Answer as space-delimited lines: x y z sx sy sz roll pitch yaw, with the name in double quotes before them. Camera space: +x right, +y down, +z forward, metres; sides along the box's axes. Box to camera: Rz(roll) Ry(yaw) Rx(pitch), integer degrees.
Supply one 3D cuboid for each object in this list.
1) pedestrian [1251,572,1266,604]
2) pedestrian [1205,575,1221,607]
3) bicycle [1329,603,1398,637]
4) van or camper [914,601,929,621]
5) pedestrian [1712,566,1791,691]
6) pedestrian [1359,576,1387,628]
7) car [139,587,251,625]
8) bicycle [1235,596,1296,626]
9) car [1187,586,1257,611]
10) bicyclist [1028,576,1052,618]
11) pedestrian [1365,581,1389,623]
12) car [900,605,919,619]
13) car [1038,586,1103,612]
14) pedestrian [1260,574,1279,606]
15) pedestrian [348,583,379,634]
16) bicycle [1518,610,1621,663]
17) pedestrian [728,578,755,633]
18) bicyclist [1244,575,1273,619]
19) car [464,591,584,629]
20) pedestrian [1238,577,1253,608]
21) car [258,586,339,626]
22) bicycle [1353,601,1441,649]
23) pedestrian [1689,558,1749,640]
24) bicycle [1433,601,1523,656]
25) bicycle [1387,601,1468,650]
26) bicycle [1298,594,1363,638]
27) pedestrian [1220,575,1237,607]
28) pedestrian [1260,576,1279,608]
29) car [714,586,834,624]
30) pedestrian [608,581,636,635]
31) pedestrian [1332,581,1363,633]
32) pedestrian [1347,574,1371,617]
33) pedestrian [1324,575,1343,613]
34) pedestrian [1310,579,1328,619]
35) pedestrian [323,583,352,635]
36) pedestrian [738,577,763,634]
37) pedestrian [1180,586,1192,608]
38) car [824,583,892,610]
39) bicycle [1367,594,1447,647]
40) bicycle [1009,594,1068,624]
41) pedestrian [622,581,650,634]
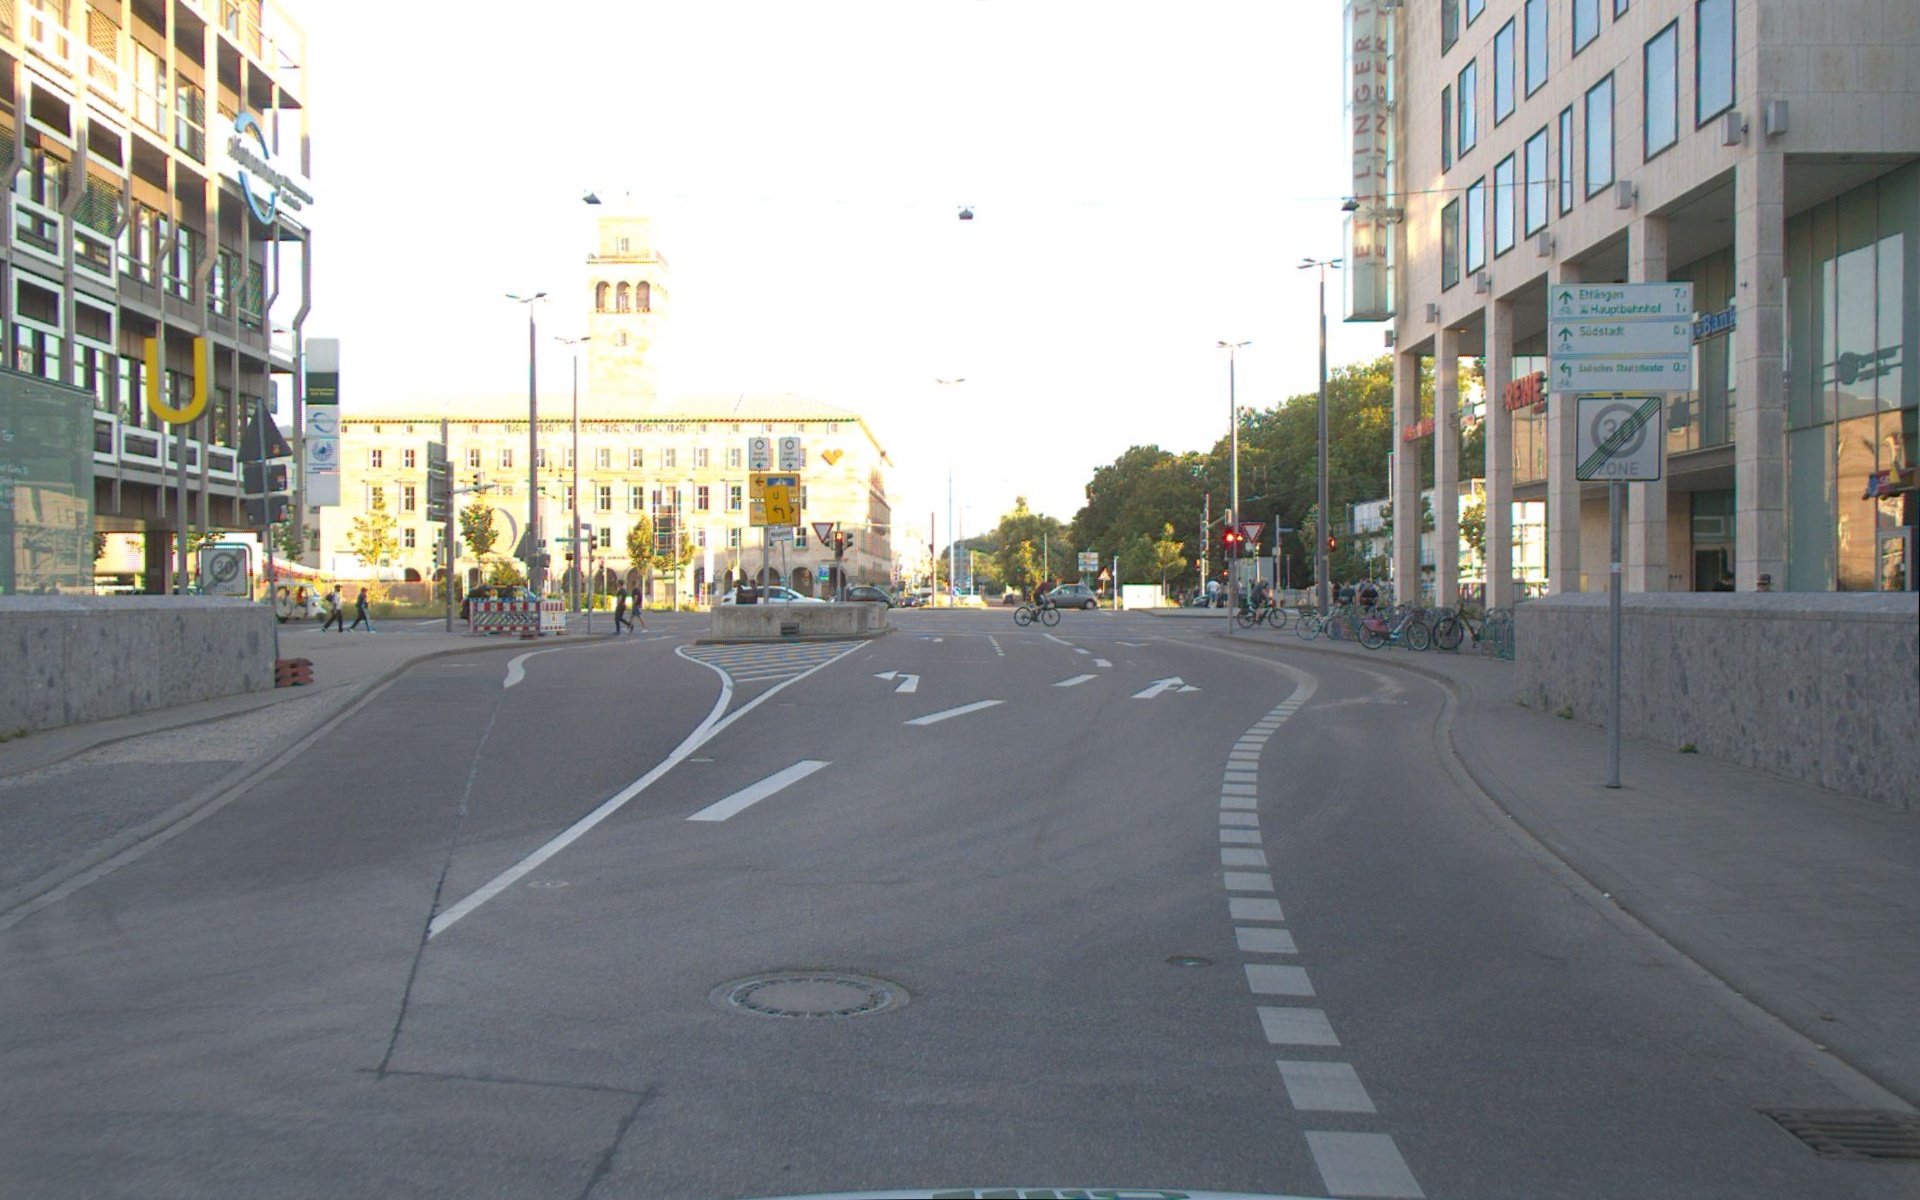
"pedestrian" 16.640 -0.654 92.237 0.791 1.760 0.688 0 0 13
"pedestrian" 14.079 -0.506 92.006 0.792 1.760 0.688 0 0 -1
"bicycle" 11.489 0.563 47.137 1.829 0.952 0.516 0 0 -1
"van or camper" -5.605 1.518 239.103 1.847 2.808 4.926 0 0 -5
"pedestrian" 11.367 0.397 23.778 0.818 1.765 0.820 0 0 8
"pedestrian" 14.814 0.081 59.305 0.740 1.808 0.741 -3 0 1
"car" -33.569 0.269 72.679 4.102 1.620 1.694 0 0 -8
"bicycle" 11.473 0.408 62.196 2.195 1.080 0.654 0 0 2
"car" 15.894 -0.089 100.235 3.904 1.478 1.542 0 0 -11
"bicyclist" 2.997 -0.104 61.981 0.861 1.557 0.654 0 0 2
"pedestrian" 17.565 0.083 69.711 0.874 1.760 0.688 0 0 5
"car" -5.921 1.388 194.031 1.952 1.545 4.001 -1 0 2
"car" 6.542 -0.080 98.231 3.642 1.478 1.544 0 0 -6
"pedestrian" 17.288 -0.565 92.332 0.798 1.760 0.682 0 0 -25
"pedestrian" -21.666 0.321 60.103 0.734 1.808 0.851 -3 0 -41
"bicycle" 11.104 0.658 30.156 1.703 0.952 0.516 0 0 -1
"pedestrian" -7.251 0.188 54.760 0.727 1.808 0.859 1 0 -18
"bicyclist" 11.220 -0.114 62.197 0.998 1.649 0.654 0 0 2
"car" -17.983 0.403 68.415 4.369 1.522 2.128 0 0 0
"pedestrian" 16.062 -0.418 93.169 0.791 1.760 0.688 0 0 13
"car" -29.078 0.242 72.822 3.077 1.714 1.606 0 0 -13
"bicycle" 9.963 0.565 37.736 1.858 1.066 0.571 0 0 5
"pedestrian" 17.165 -0.021 37.420 0.843 1.808 0.990 -2 0 -1
"bicycle" 11.369 0.615 36.323 1.778 1.119 0.601 2 0 8
"bicycle" 11.504 0.611 40.727 1.832 1.133 0.571 2 0 4
"bicycle" 10.646 0.457 47.532 1.779 1.233 0.571 0 0 16
"pedestrian" 14.979 -0.516 92.271 0.792 1.760 0.688 0 0 -1
"pedestrian" 17.525 -0.454 93.647 0.679 1.760 0.802 0 0 -32
"car" -7.632 0.195 68.247 4.698 1.522 2.128 0 0 0
"pedestrian" -11.662 0.267 57.030 0.723 1.808 0.863 -3 0 -2
"pedestrian" 13.929 0.256 59.473 0.843 1.808 0.741 -3 0 1
"pedestrian" 16.584 -0.198 68.677 0.874 1.760 0.688 0 0 5
"pedestrian" 17.172 -0.279 76.035 0.818 1.760 0.688 0 0 16
"pedestrian" 15.997 -0.043 73.737 0.677 1.760 0.741 0 0 2
"pedestrian" -22.614 0.330 60.102 0.733 1.808 0.852 -3 0 -36
"pedestrian" -6.838 0.170 53.979 0.725 1.808 0.861 -1 0 -12
"pedestrian" 17.654 -0.226 129.382 0.792 1.760 0.929 0 0 -1
"car" -5.946 -0.212 96.088 3.910 1.520 1.826 -1 0 -6
"bicycle" 11.481 0.524 42.506 1.829 1.282 0.673 2 0 -1
"bicycle" 2.933 0.343 61.983 2.195 1.080 0.654 0 0 2
"pedestrian" -11.348 0.259 57.942 0.723 1.808 0.863 -3 0 -2
